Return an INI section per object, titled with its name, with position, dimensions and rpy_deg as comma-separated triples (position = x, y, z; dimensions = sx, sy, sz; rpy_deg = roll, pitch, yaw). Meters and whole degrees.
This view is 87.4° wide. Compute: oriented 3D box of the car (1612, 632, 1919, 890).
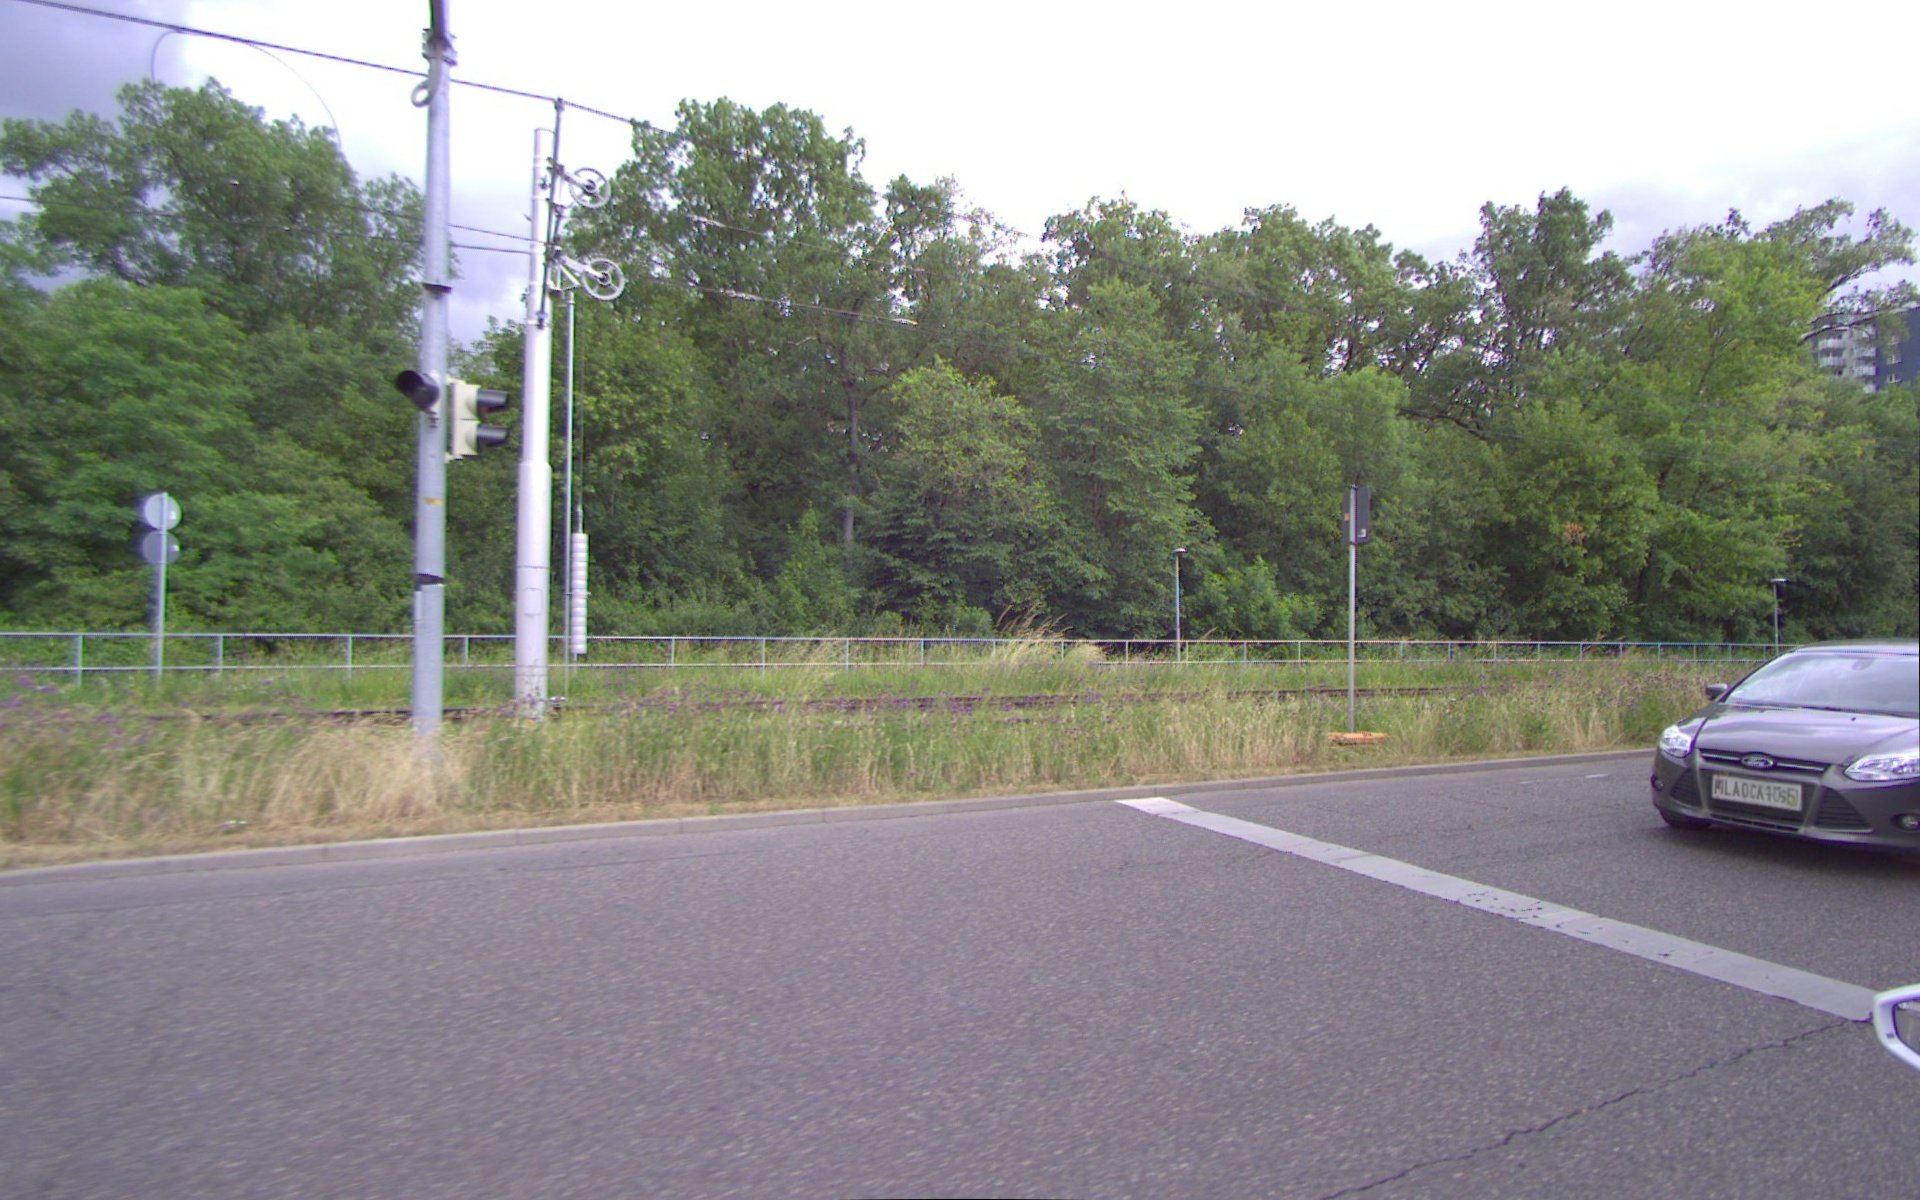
[car]
position = 7.012, 1.010, 7.581
dimensions = 4.377, 1.453, 1.747
rpy_deg = 2, -1, -30
